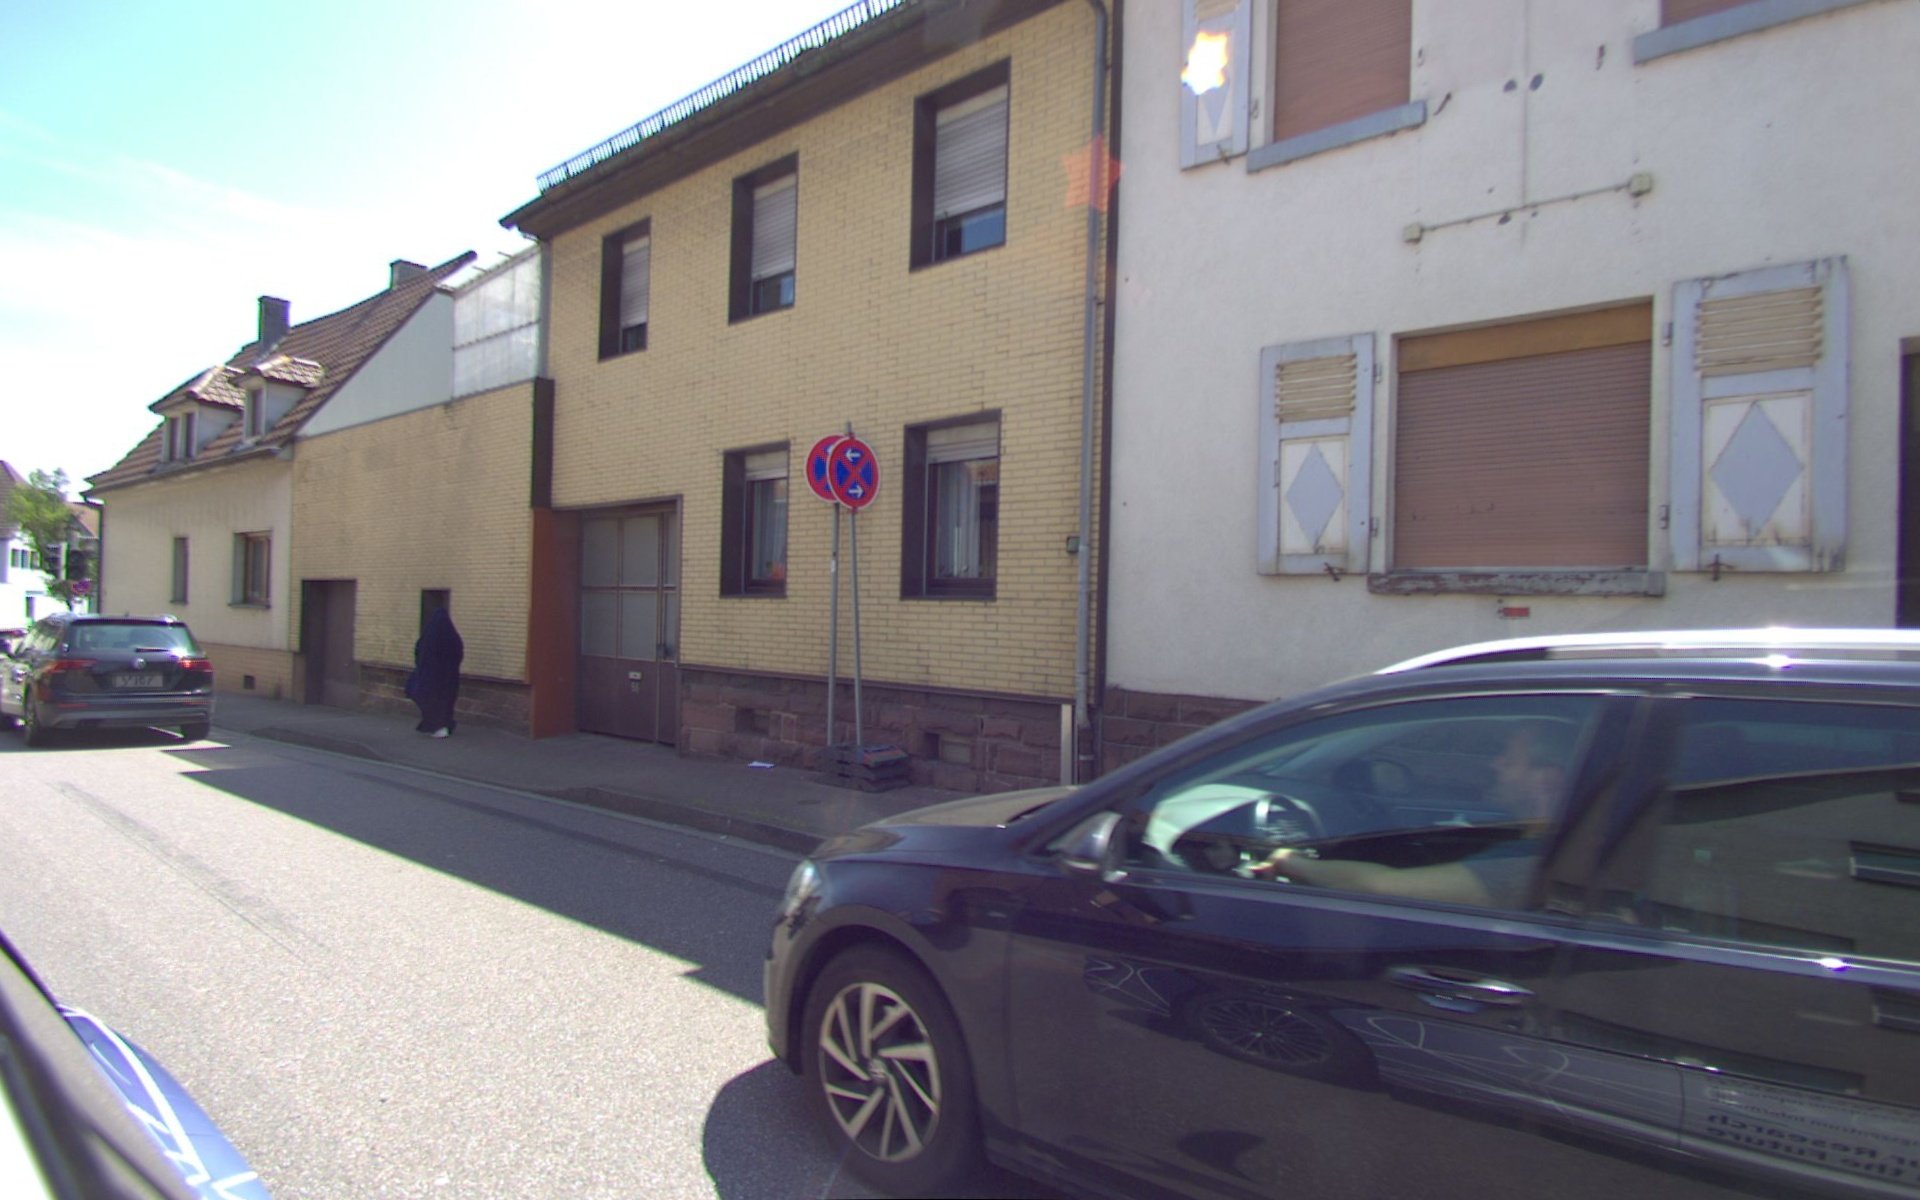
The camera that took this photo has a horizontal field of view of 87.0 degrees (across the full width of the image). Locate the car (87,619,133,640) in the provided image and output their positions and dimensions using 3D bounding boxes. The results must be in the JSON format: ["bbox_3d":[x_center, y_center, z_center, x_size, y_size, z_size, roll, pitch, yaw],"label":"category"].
[{"bbox_3d":[-67.727,2.323,80.714,1.965,1.630,4.013,0,-1,-28],"label":"car"}]

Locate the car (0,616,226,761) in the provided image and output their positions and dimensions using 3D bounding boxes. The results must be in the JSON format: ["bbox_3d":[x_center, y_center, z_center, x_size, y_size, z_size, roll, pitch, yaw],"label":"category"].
[{"bbox_3d":[-11.518,1.070,13.433,4.333,1.621,1.793,-1,-4,40],"label":"car"}]

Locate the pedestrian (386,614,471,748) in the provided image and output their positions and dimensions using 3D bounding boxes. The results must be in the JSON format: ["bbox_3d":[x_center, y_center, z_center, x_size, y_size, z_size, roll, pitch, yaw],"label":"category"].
[{"bbox_3d":[-6.523,0.967,12.422,0.755,1.576,0.655,0,-2,41],"label":"pedestrian"}]

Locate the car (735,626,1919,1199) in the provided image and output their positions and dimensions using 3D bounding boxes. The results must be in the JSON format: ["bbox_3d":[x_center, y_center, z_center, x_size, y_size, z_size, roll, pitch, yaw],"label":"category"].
[{"bbox_3d":[1.520,0.799,2.150,4.197,1.420,1.677,-1,-4,40],"label":"car"}]

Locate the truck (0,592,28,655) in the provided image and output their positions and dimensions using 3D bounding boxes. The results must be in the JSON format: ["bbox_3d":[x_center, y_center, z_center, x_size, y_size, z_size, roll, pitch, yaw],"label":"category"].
[{"bbox_3d":[-55.316,1.231,56.575,2.820,3.539,8.345,4,-2,-30],"label":"truck"}]

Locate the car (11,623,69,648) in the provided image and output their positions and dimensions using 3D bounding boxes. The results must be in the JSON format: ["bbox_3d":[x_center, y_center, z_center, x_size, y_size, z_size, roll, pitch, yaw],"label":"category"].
[{"bbox_3d":[-60.642,2.317,66.770,1.837,1.541,4.013,0,-1,-28],"label":"car"}]
